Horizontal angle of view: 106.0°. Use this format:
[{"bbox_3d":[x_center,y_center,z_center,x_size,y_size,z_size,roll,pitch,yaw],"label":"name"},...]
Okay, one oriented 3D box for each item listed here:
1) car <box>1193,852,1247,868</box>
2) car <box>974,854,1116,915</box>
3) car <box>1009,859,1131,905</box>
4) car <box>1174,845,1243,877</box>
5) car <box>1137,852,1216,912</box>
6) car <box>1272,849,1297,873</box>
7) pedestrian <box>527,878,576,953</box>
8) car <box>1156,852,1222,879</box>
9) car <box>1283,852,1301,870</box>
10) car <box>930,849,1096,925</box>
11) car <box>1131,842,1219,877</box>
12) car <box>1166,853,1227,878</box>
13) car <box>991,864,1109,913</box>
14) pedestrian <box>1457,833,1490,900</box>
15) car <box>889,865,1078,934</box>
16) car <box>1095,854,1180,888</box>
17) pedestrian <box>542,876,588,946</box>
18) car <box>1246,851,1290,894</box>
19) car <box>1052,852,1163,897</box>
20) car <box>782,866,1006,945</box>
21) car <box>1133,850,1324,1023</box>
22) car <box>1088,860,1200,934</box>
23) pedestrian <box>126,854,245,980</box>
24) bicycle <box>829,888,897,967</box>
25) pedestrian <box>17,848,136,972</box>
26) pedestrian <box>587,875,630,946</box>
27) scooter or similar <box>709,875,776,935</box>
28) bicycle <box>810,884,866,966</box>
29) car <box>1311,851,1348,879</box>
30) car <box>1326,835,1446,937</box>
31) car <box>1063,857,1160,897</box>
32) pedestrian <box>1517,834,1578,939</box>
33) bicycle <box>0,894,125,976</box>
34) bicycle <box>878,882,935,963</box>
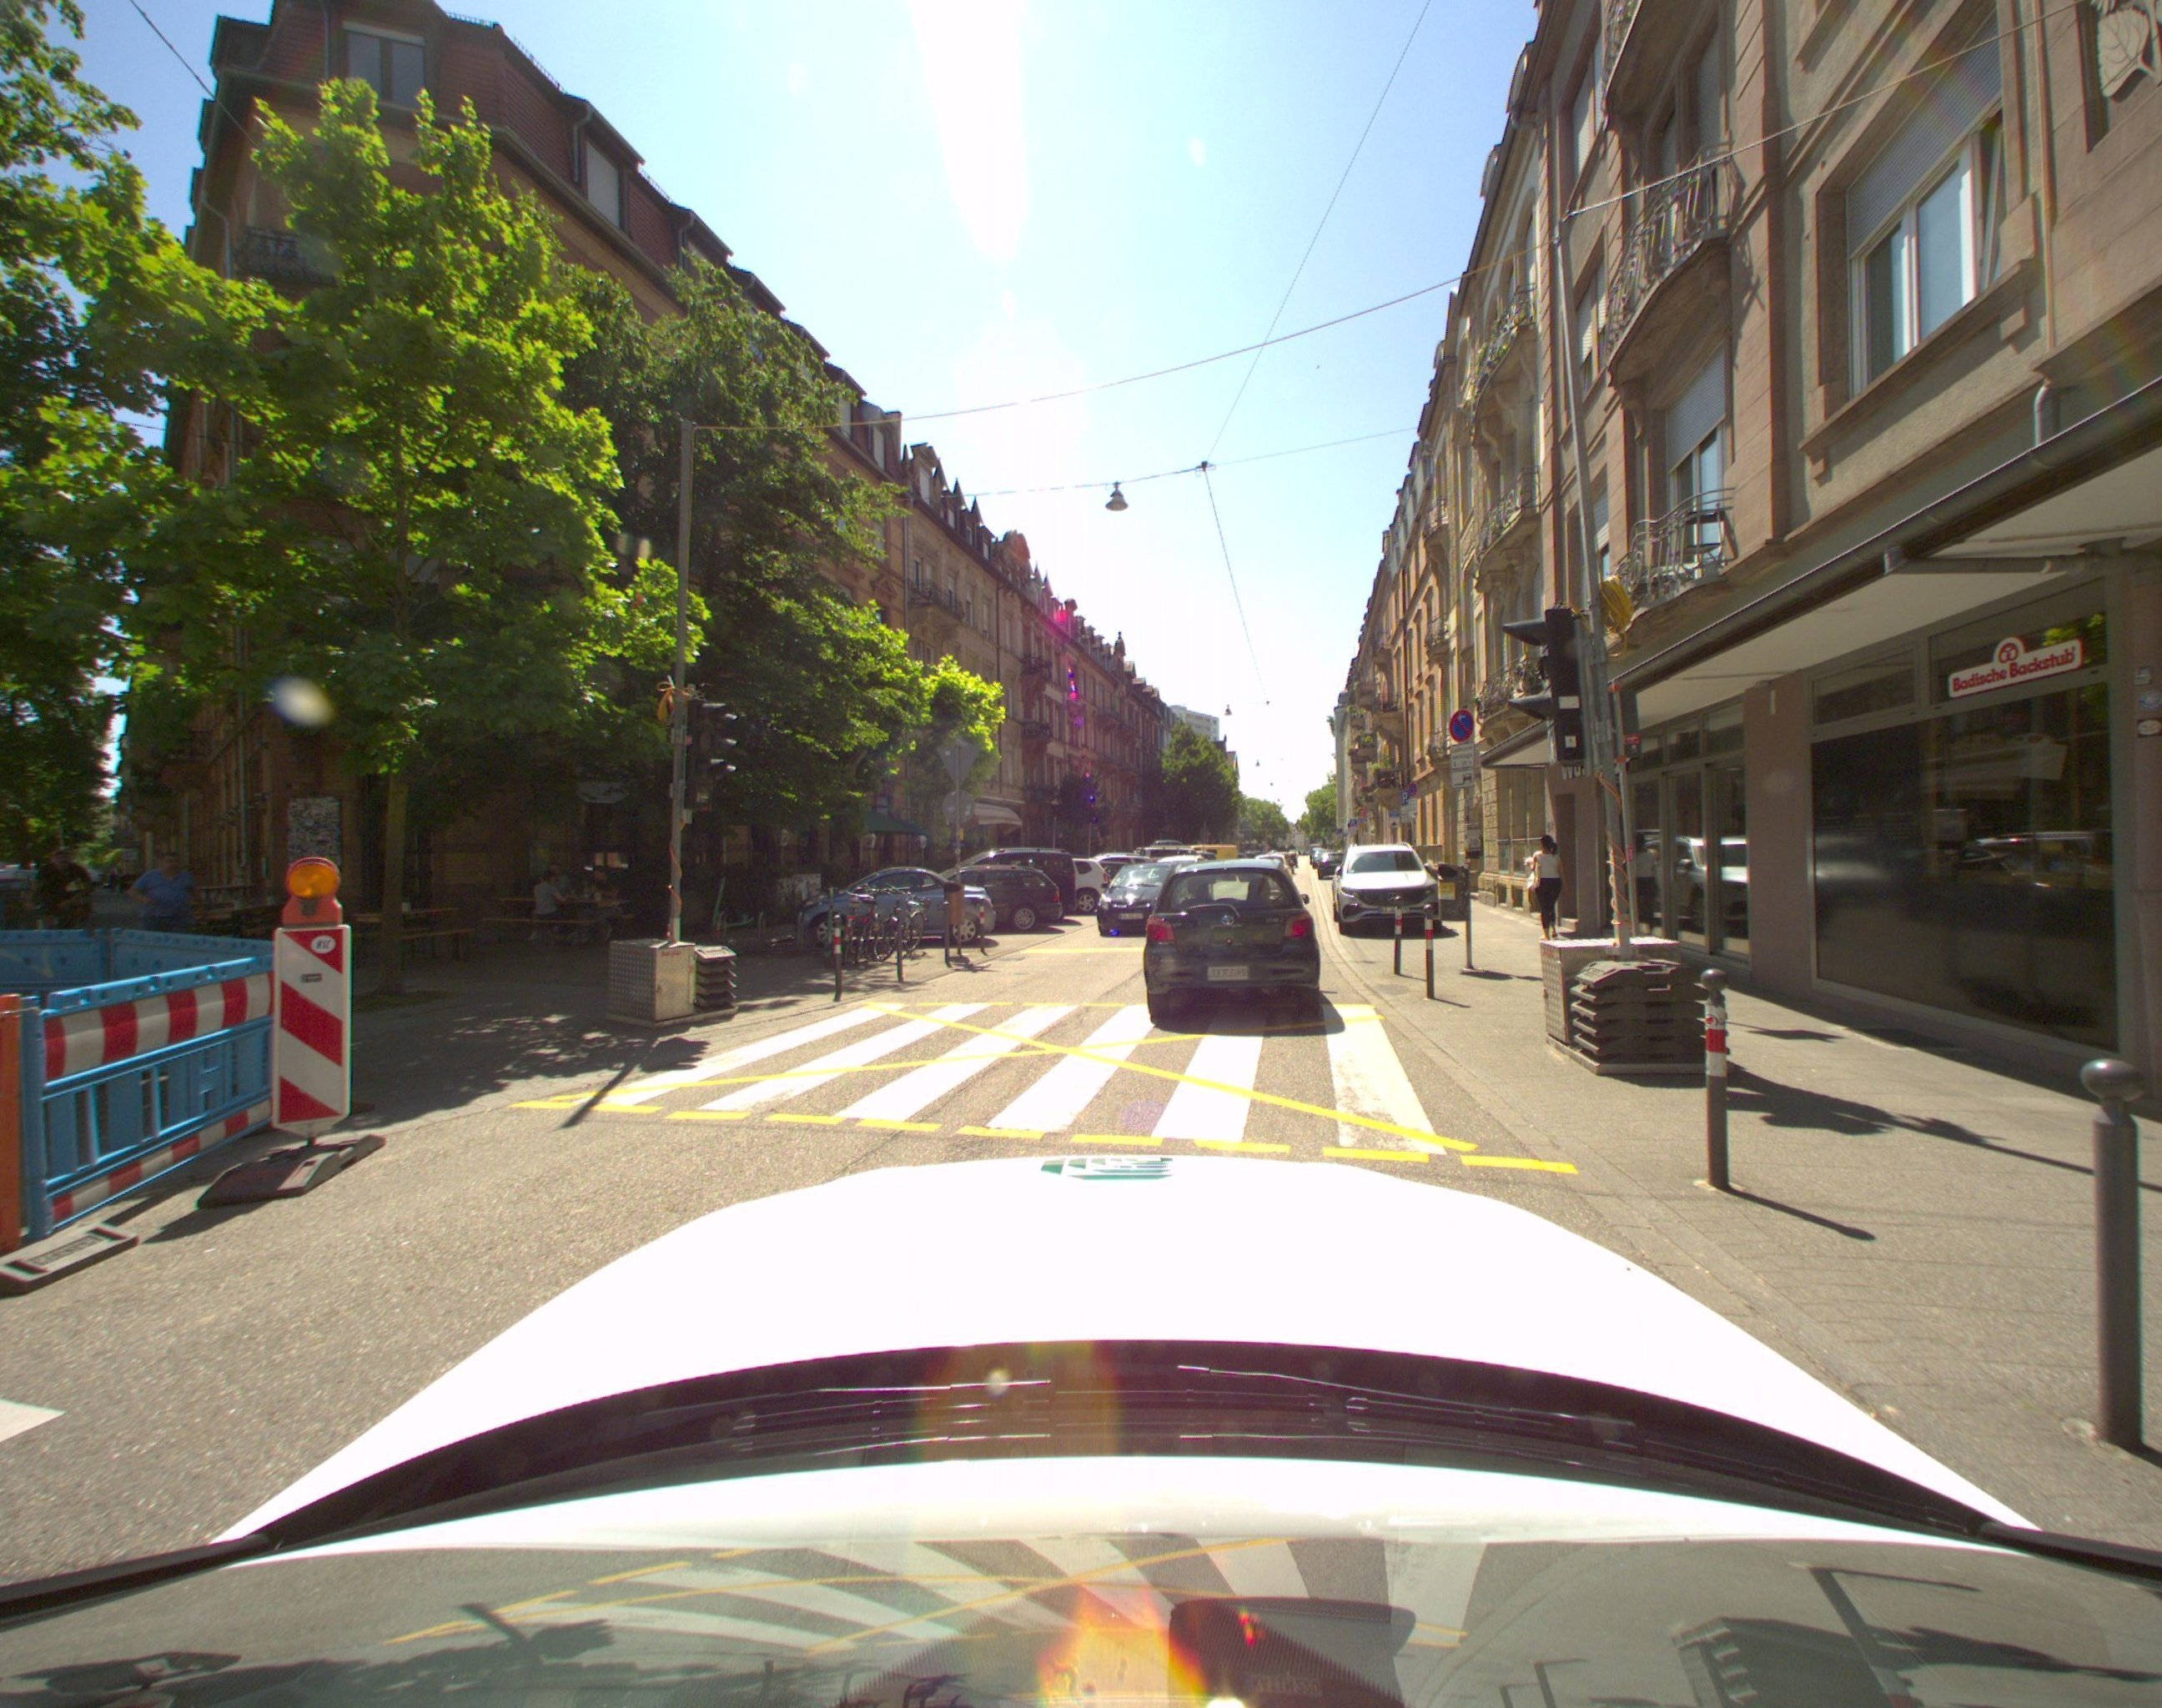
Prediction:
[{"bbox_3d":[12.943,0.540,76.026,4.561,1.434,1.992,-1,0,-12],"label":"car"},{"bbox_3d":[-1.104,0.861,23.725,3.984,1.658,1.755,0,0,-8],"label":"car"},{"bbox_3d":[-0.390,0.955,28.753,3.927,1.470,1.851,-1,0,-23],"label":"car"},{"bbox_3d":[9.332,0.494,59.836,4.561,2.187,1.992,-1,0,-12],"label":"car"},{"bbox_3d":[3.165,0.830,26.221,1.741,1.645,4.396,-4,-1,16],"label":"car"},{"bbox_3d":[14.009,0.478,56.006,1.511,1.592,3.278,-1,0,16],"label":"car"},{"bbox_3d":[-9.045,1.029,13.940,0.558,1.220,0.594,-1,0,-19],"label":"pedestrian"},{"bbox_3d":[7.044,0.742,53.375,3.908,1.708,1.860,-1,0,-9],"label":"car"},{"bbox_3d":[19.954,0.680,77.079,1.511,1.592,3.276,-1,0,14],"label":"car"},{"bbox_3d":[-1.771,0.801,20.813,3.993,1.804,1.760,0,0,-14],"label":"car"},{"bbox_3d":[5.567,0.316,48.354,4.779,1.994,2.044,-1,0,-14],"label":"car"},{"bbox_3d":[8.009,0.782,56.703,3.860,1.640,1.780,-1,0,-8],"label":"car"},{"bbox_3d":[-1.020,1.057,25.732,3.615,1.458,1.621,0,0,-7],"label":"car"},{"bbox_3d":[10.608,0.332,22.013,0.509,1.750,0.751,-3,0,8],"label":"pedestrian"},{"bbox_3d":[-2.261,0.971,18.557,3.996,1.412,1.960,0,0,-17],"label":"car"},{"bbox_3d":[2.798,0.829,40.633,3.908,1.619,1.860,-1,0,-9],"label":"car"},{"bbox_3d":[-9.327,1.013,14.734,0.558,1.220,0.594,-1,0,-19],"label":"pedestrian"},{"bbox_3d":[7.236,0.682,31.354,1.511,1.521,3.277,-1,0,15],"label":"car"},{"bbox_3d":[1.035,0.754,31.894,3.929,1.619,1.850,-1,0,-25],"label":"car"},{"bbox_3d":[-3.596,0.943,15.933,3.992,1.375,1.991,0,0,-14],"label":"car"},{"bbox_3d":[1.550,0.761,8.877,1.604,1.485,3.248,-3,-1,9],"label":"car"},{"bbox_3d":[1.560,0.911,18.606,1.741,1.444,4.017,-2,0,16],"label":"car"},{"bbox_3d":[-12.701,0.861,11.578,0.633,1.704,0.934,0,0,12],"label":"pedestrian"},{"bbox_3d":[-3.447,1.121,13.011,0.488,1.081,1.900,0,0,3],"label":"bicycle"},{"bbox_3d":[-15.283,0.814,12.406,0.996,1.790,0.869,0,0,22],"label":"pedestrian"},{"bbox_3d":[-8.531,1.006,14.721,0.558,1.220,0.594,-1,0,-19],"label":"pedestrian"},{"bbox_3d":[-6.887,1.016,16.623,0.275,1.120,1.478,1,1,24],"label":"scooter or similar"},{"bbox_3d":[-3.858,1.094,13.041,0.336,1.156,1.621,0,0,3],"label":"bicycle"},{"bbox_3d":[13.421,0.575,44.131,1.741,1.429,4.017,-2,0,16],"label":"car"},{"bbox_3d":[5.981,0.566,16.447,1.857,1.713,4.523,-3,-1,16],"label":"car"},{"bbox_3d":[1.291,0.963,35.249,3.908,1.619,1.860,-1,0,-9],"label":"car"},{"bbox_3d":[7.453,0.504,13.034,0.636,1.623,0.807,-1,0,15],"label":"pedestrian"},{"bbox_3d":[-15.428,1.191,12.262,2.261,1.087,0.605,0,0,21],"label":"bicycle"},{"bbox_3d":[-2.851,1.091,13.442,0.488,1.173,1.686,0,0,3],"label":"bicycle"}]
